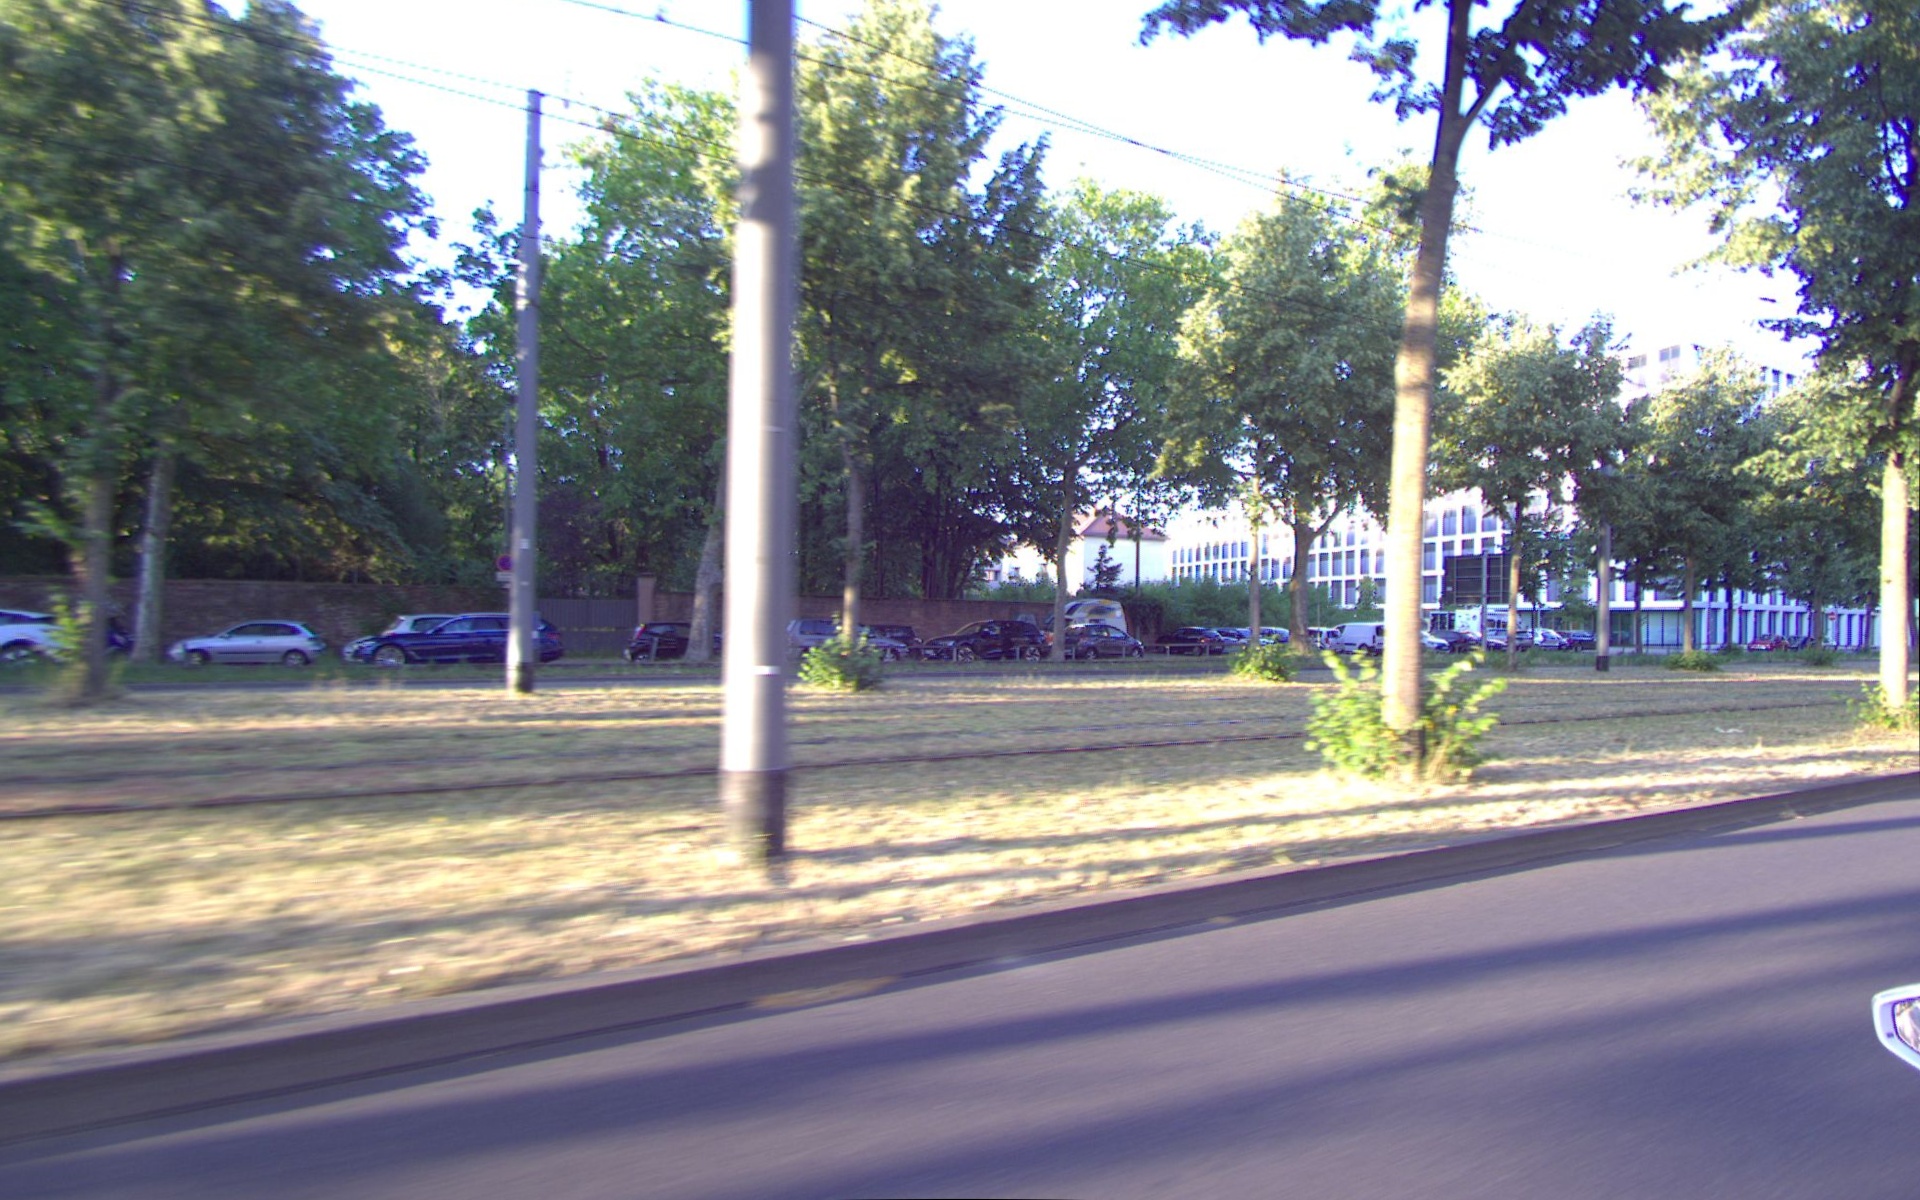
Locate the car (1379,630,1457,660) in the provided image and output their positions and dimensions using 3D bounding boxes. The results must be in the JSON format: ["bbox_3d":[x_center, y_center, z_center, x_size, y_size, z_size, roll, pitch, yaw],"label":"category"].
[{"bbox_3d":[27.097,2.643,59.520,1.895,1.661,3.978,1,-1,-23],"label":"car"}]

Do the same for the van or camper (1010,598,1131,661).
[{"bbox_3d":[5.121,1.364,46.204,5.434,2.771,2.074,2,-1,-32],"label":"van or camper"}]

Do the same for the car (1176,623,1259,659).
[{"bbox_3d":[12.908,2.025,50.547,1.898,1.661,3.972,1,-1,-27],"label":"car"}]

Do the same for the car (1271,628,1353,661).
[{"bbox_3d":[19.385,2.415,55.419,1.901,1.661,3.964,2,-1,-33],"label":"car"}]

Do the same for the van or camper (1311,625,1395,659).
[{"bbox_3d":[22.142,2.326,56.631,1.984,1.815,3.954,2,-1,-40],"label":"van or camper"}]

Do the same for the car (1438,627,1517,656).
[{"bbox_3d":[31.784,2.531,61.787,1.901,1.661,3.964,2,-1,-33],"label":"car"}]

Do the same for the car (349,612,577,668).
[{"bbox_3d":[-12.719,1.028,25.983,5.075,1.332,1.987,2,-1,-27],"label":"car"}]

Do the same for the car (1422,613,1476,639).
[{"bbox_3d":[38.845,2.070,79.797,3.952,2.040,1.984,2,-1,-30],"label":"car"}]

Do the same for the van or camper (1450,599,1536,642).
[{"bbox_3d":[40.710,1.567,76.754,6.180,3.126,2.701,2,-1,-27],"label":"van or camper"}]

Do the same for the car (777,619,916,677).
[{"bbox_3d":[-3.694,1.555,32.705,4.104,1.773,1.988,2,-1,-25],"label":"car"}]

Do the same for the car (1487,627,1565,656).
[{"bbox_3d":[36.045,2.625,64.062,1.901,1.661,3.964,2,-1,-33],"label":"car"}]

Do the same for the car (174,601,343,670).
[{"bbox_3d":[-21.700,1.105,31.284,3.944,2.040,1.989,1,-1,-24],"label":"car"}]

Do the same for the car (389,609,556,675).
[{"bbox_3d":[-13.770,1.191,28.610,4.104,1.773,1.988,2,-1,-25],"label":"car"}]

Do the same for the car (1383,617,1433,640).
[{"bbox_3d":[38.284,2.447,85.836,3.949,1.835,1.909,1,-1,-27],"label":"car"}]

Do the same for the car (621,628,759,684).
[{"bbox_3d":[-8.189,1.685,30.485,3.785,1.581,1.798,2,-1,-25],"label":"car"}]

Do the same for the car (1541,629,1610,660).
[{"bbox_3d":[41.782,3.001,68.115,4.875,2.040,1.984,2,-1,-31],"label":"car"}]

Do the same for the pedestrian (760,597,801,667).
[{"bbox_3d":[-4.951,0.875,27.737,0.858,1.895,0.688,2,-1,-38],"label":"pedestrian"}]

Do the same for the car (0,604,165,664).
[{"bbox_3d":[-26.236,0.996,29.636,3.944,1.662,1.989,1,-1,-24],"label":"car"}]

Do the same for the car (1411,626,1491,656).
[{"bbox_3d":[29.779,2.472,60.974,1.901,1.661,3.964,2,-1,-33],"label":"car"}]

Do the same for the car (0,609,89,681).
[{"bbox_3d":[-21.820,0.937,21.638,4.255,1.519,1.891,2,-1,-30],"label":"car"}]

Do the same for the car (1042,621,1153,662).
[{"bbox_3d":[5.335,1.592,38.791,3.961,1.505,1.980,2,-1,-36],"label":"car"}]

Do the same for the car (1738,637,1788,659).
[{"bbox_3d":[61.993,3.711,77.566,3.450,1.602,1.852,2,-1,-29],"label":"car"}]

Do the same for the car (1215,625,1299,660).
[{"bbox_3d":[15.176,2.159,51.538,1.898,1.661,3.971,1,-1,-28],"label":"car"}]

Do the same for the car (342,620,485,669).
[{"bbox_3d":[-17.962,1.466,33.223,3.943,1.506,1.989,1,-1,-23],"label":"car"}]

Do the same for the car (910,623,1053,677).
[{"bbox_3d":[0.780,1.766,35.575,4.736,1.773,1.984,2,-1,-31],"label":"car"}]

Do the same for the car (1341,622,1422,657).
[{"bbox_3d":[24.492,2.270,58.457,1.988,1.869,3.970,1,-1,-29],"label":"car"}]

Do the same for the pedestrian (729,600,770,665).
[{"bbox_3d":[-5.870,0.906,28.015,0.858,1.782,0.688,2,-1,-38],"label":"pedestrian"}]

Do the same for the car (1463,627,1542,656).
[{"bbox_3d":[33.976,2.585,63.034,1.901,1.661,3.964,2,-1,-33],"label":"car"}]

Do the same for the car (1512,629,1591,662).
[{"bbox_3d":[38.555,2.944,65.537,1.979,2.040,3.964,2,-1,-33],"label":"car"}]

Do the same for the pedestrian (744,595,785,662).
[{"bbox_3d":[-5.219,0.760,26.792,0.857,1.766,0.689,2,-1,-32],"label":"pedestrian"}]
